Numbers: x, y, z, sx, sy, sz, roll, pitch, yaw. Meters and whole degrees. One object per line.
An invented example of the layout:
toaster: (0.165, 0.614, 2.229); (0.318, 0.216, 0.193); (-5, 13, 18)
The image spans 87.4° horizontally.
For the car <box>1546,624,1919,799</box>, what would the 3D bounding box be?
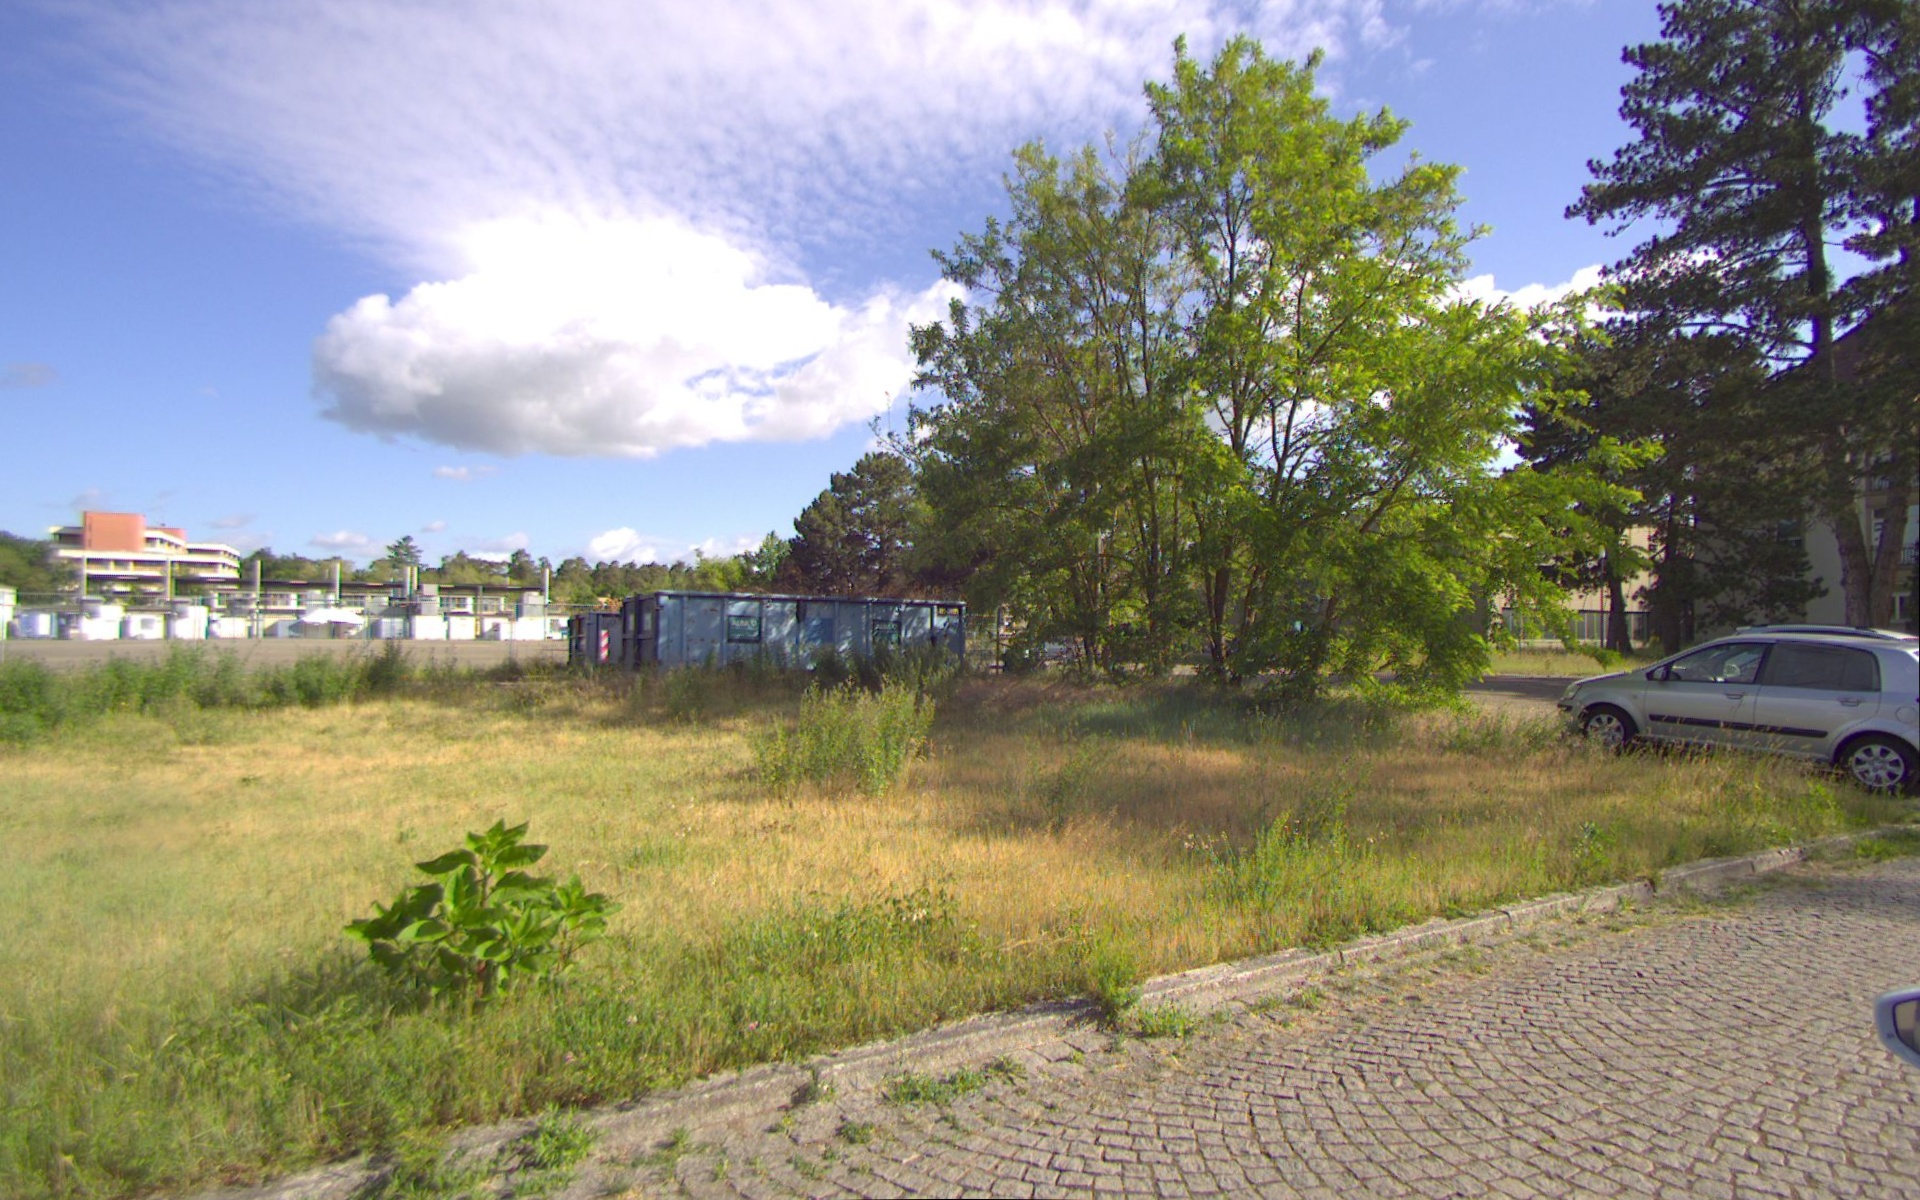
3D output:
car: (8.812, 1.084, 11.076); (1.628, 1.507, 3.725); (1, 1, -32)

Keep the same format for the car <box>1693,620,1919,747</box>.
car: (13.282, 1.159, 14.415); (1.865, 1.614, 4.057); (1, 1, -32)

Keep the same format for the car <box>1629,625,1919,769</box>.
car: (10.968, 1.137, 12.553); (1.783, 1.500, 3.964); (1, 1, -32)

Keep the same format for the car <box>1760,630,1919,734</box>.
car: (15.341, 1.294, 15.528); (1.810, 1.488, 4.309); (1, 1, -32)
